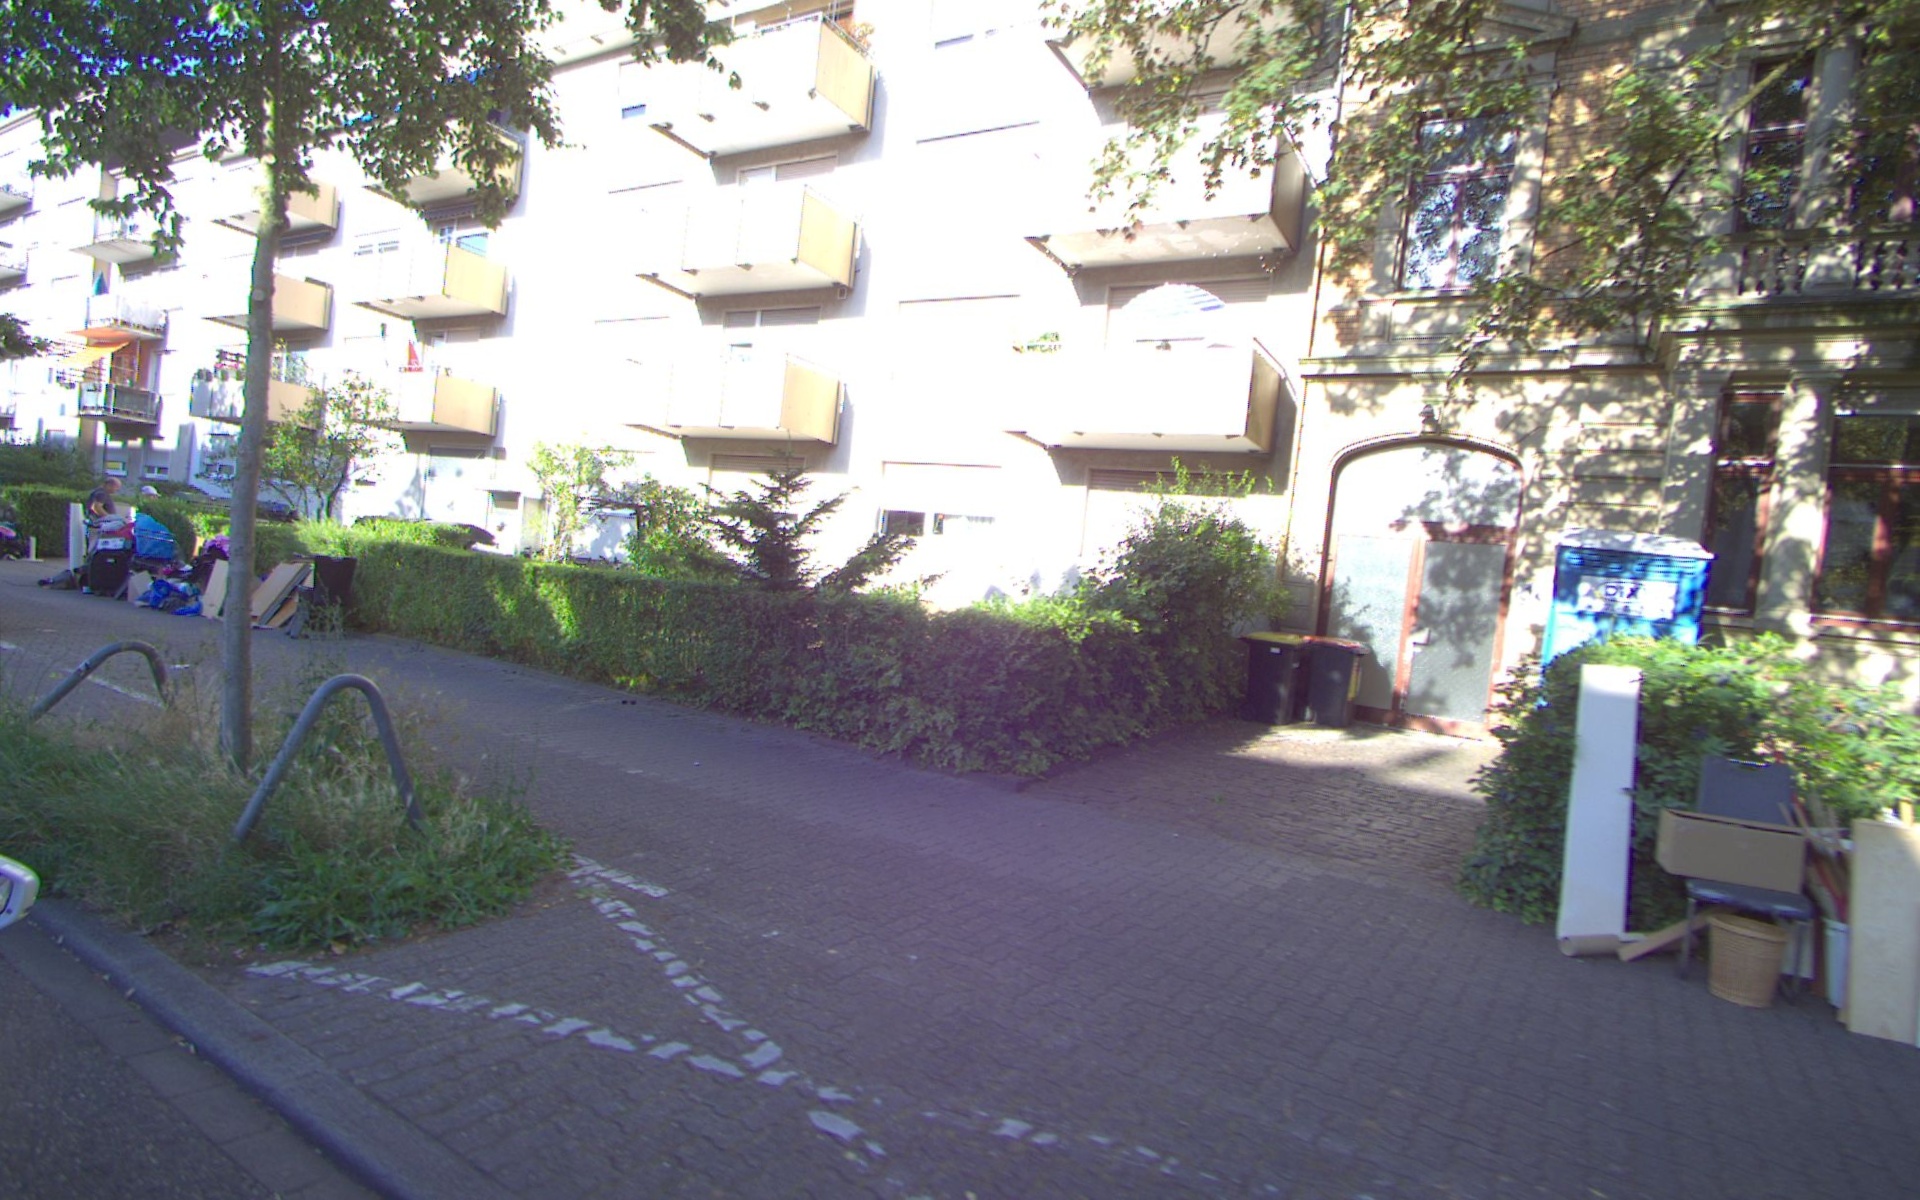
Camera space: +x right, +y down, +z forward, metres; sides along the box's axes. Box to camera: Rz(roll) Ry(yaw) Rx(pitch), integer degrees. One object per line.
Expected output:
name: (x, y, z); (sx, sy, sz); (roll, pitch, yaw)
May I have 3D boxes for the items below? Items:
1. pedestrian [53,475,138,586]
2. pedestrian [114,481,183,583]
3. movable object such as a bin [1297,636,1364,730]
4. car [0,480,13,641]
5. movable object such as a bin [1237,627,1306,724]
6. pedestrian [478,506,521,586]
pedestrian: (-13.876, -1.103, 16.170); (0.747, 1.661, 0.692); (6, 2, -21)
pedestrian: (-13.199, -1.095, 16.387); (0.585, 1.560, 0.692); (6, 2, -21)
movable object such as a bin: (4.607, 1.024, 12.511); (0.611, 1.072, 0.452); (7, 2, 30)
car: (-11.167, -0.595, 9.862); (4.197, 1.501, 1.708); (7, 3, 32)
movable object such as a bin: (3.754, 0.900, 12.128); (0.611, 1.072, 0.408); (7, 2, 30)
pedestrian: (-10.028, -1.159, 21.914); (0.526, 1.661, 0.475); (7, 2, 13)
